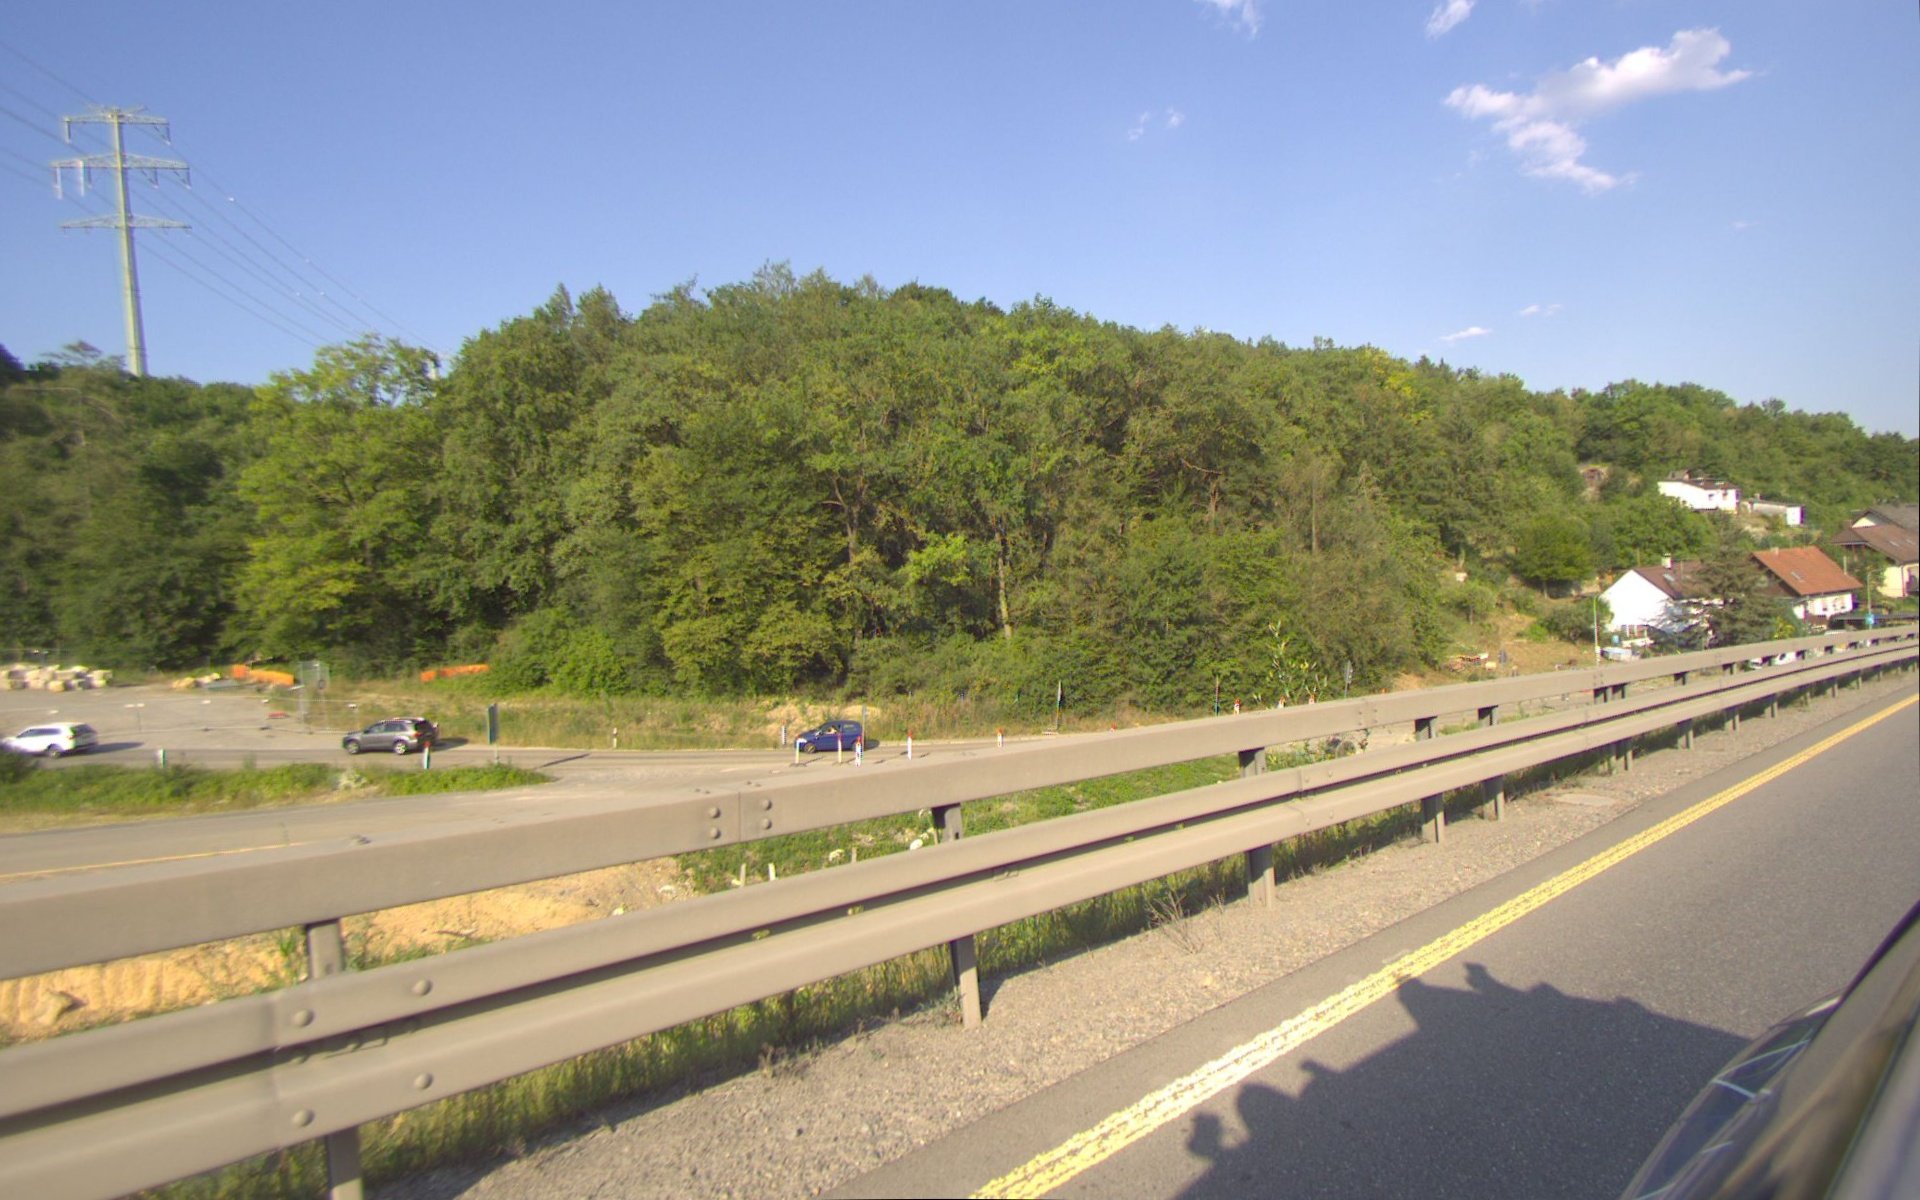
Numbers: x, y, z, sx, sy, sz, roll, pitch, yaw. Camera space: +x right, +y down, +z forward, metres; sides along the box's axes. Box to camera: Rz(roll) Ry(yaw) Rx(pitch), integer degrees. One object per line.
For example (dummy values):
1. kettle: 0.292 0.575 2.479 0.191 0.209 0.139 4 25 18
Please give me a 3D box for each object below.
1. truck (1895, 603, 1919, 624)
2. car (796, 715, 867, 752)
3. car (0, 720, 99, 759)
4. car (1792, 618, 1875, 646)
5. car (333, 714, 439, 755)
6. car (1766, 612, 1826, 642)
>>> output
1. truck: 93.690 1.321 98.596 1.970 1.760 3.983 -7 -2 13
2. car: -6.638 6.848 52.131 3.543 1.619 1.775 -1 -2 -9
3. car: -48.152 7.315 53.068 4.381 1.683 1.675 -1 -1 -6
4. car: 82.004 2.959 95.083 1.960 2.292 5.492 -3 1 -27
5. car: -29.515 6.909 52.099 4.413 1.807 1.868 0 0 0
6. car: 67.360 2.149 81.520 4.950 2.010 1.871 -4 3 -27
